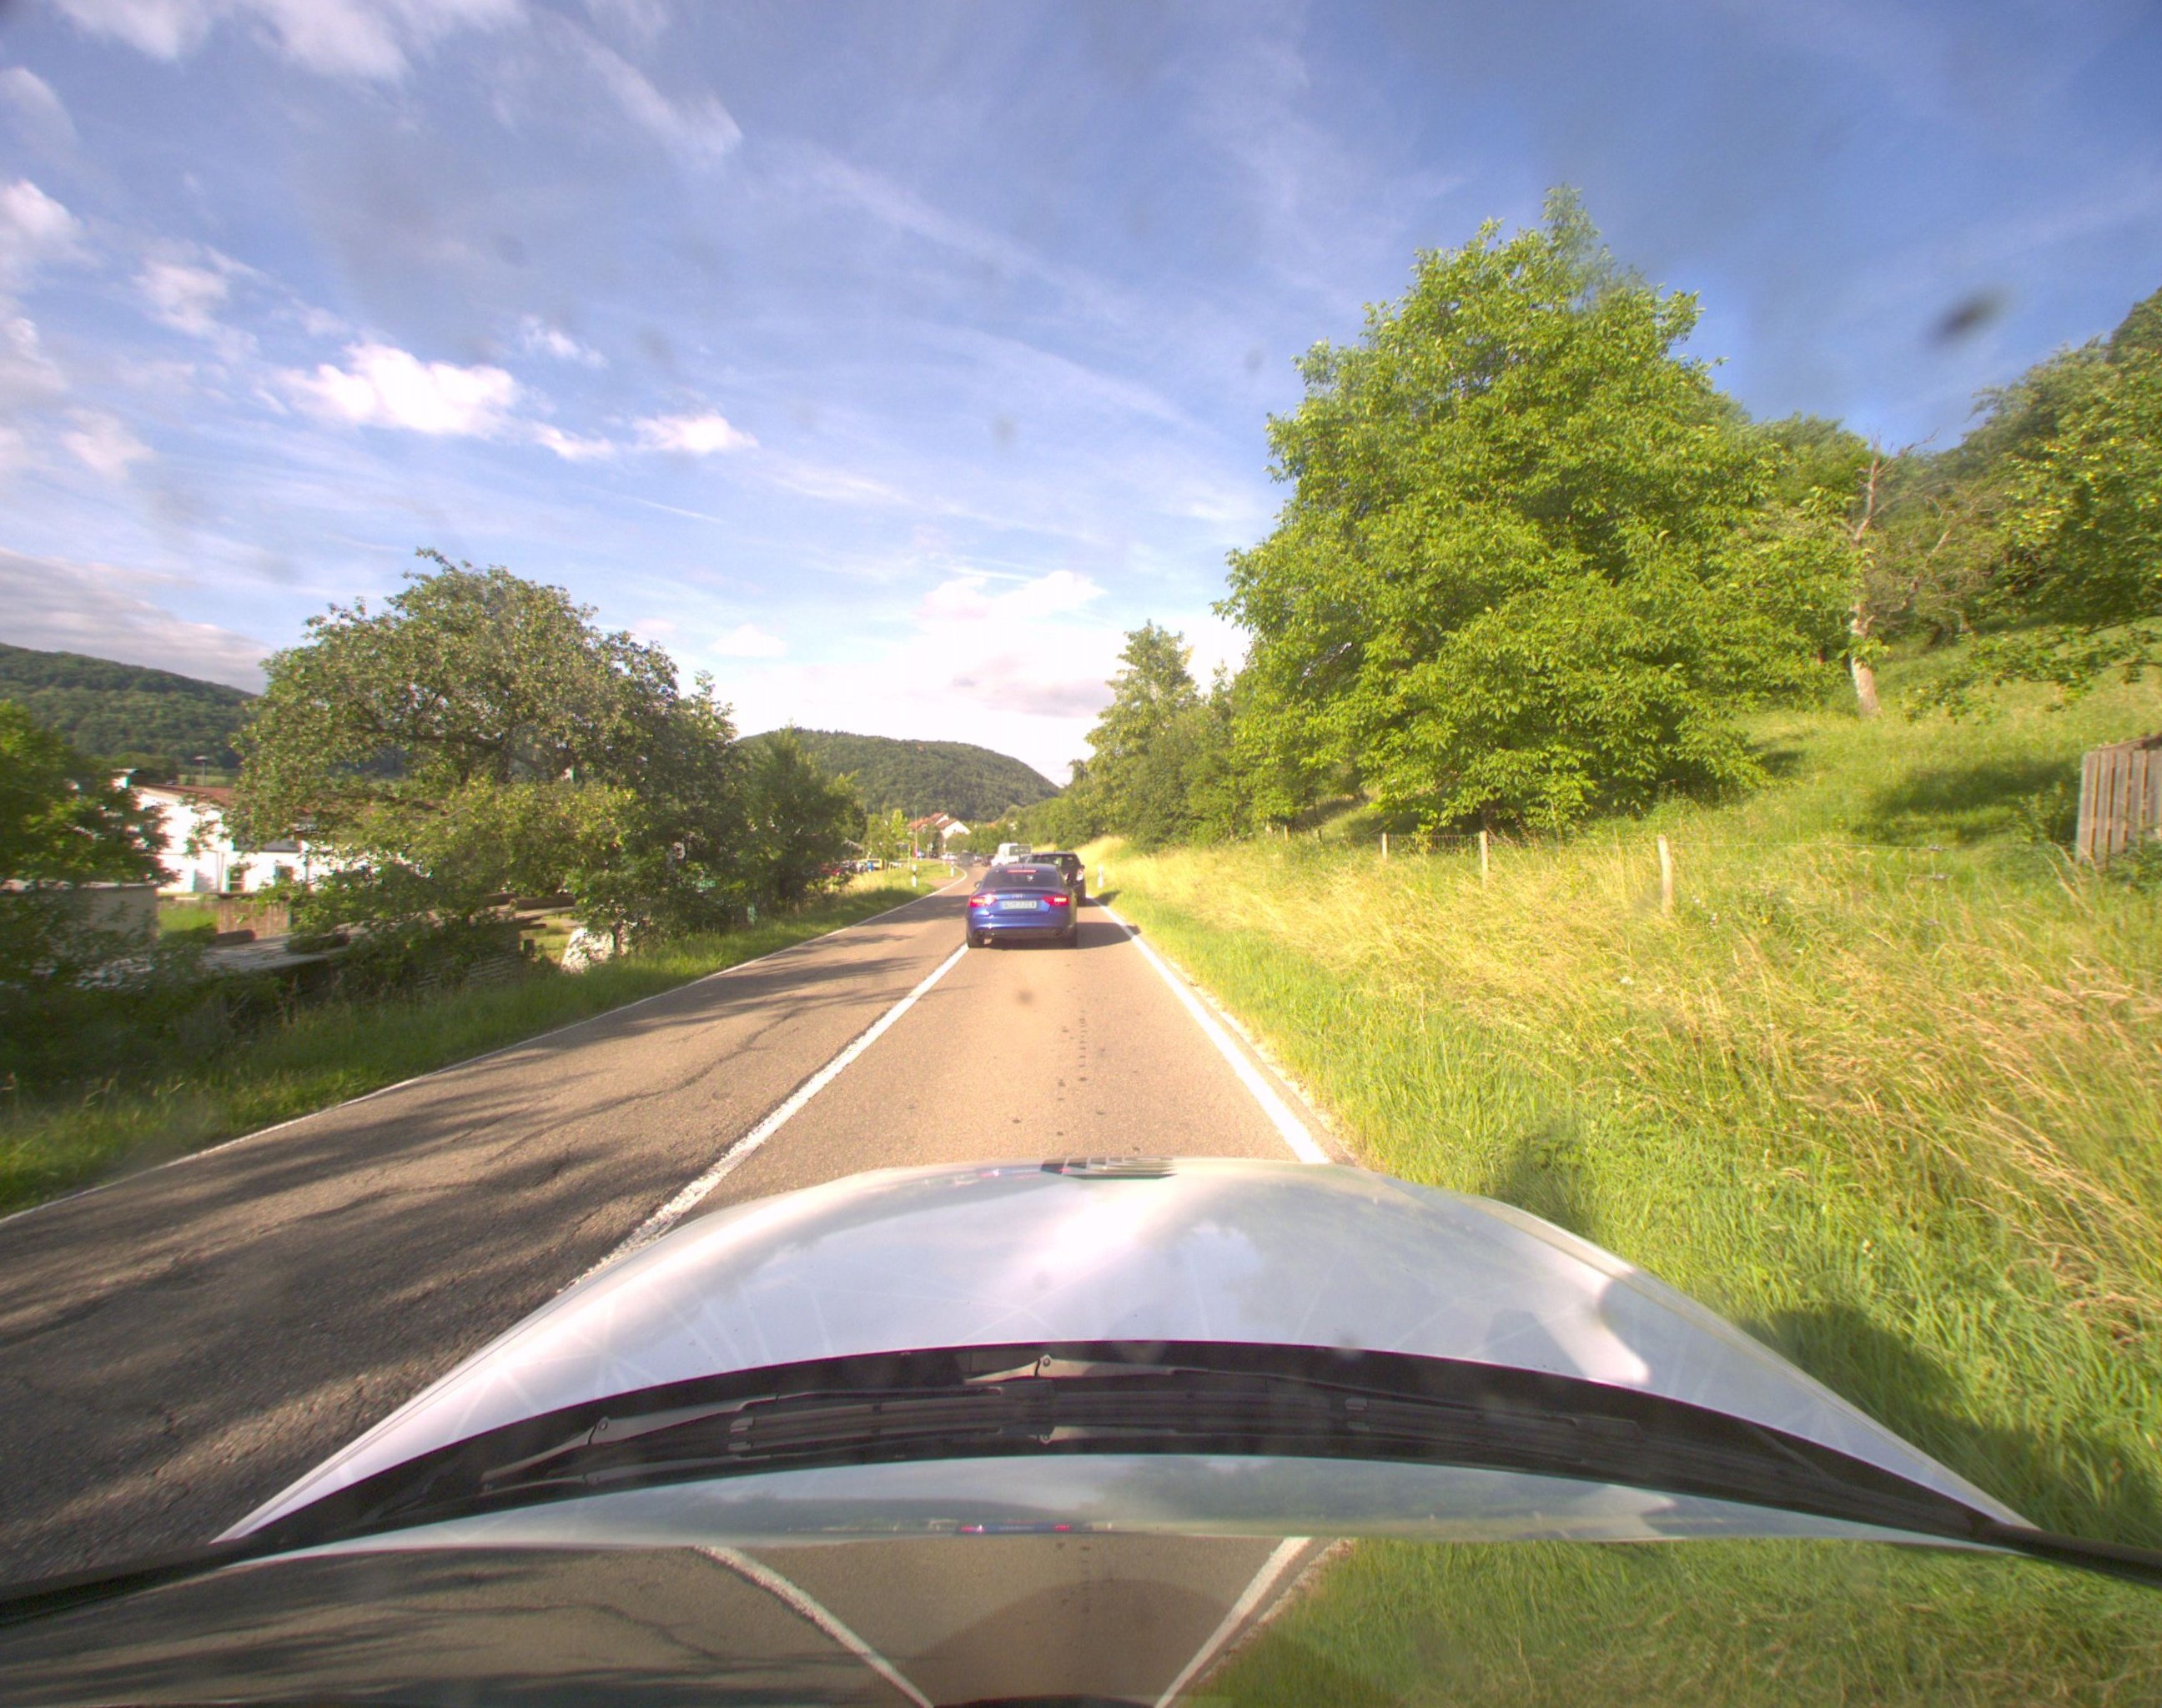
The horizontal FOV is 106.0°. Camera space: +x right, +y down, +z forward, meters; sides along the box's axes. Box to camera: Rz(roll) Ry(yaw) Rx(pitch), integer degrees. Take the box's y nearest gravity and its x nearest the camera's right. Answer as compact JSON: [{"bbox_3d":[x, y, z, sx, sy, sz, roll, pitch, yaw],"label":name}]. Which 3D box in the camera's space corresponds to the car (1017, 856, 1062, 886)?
[{"bbox_3d":[-2.093,0.795,39.872,1.991,1.387,3.992,0,-1,-6],"label":"car"}]

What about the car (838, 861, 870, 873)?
[{"bbox_3d":[-32.500,1.849,116.720,3.975,1.553,1.782,-1,-1,-1],"label":"car"}]

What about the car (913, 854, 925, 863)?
[{"bbox_3d":[-36.230,0.966,181.922,2.000,2.014,3.973,0,-1,-20],"label":"car"}]

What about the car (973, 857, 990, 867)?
[{"bbox_3d":[-14.731,1.224,120.272,1.997,1.482,3.979,0,-1,-15],"label":"car"}]

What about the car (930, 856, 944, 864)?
[{"bbox_3d":[-28.171,1.199,159.560,2.001,1.482,3.971,0,-1,-21],"label":"car"}]

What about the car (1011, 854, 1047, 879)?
[{"bbox_3d":[-3.304,0.748,51.224,1.992,1.482,3.989,0,-1,-7],"label":"car"}]

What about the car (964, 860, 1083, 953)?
[{"bbox_3d":[-0.921,0.816,14.512,1.789,1.360,3.998,-1,0,-1],"label":"car"}]

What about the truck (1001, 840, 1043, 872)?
[{"bbox_3d":[-5.471,0.176,73.729,2.864,2.665,10.358,0,0,-9],"label":"truck"}]

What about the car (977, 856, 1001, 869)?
[{"bbox_3d":[-10.972,1.010,96.946,2.000,1.482,3.974,0,-1,-19],"label":"car"}]

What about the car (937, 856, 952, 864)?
[{"bbox_3d":[-25.434,1.107,151.410,2.001,1.482,3.971,0,-1,-21],"label":"car"}]

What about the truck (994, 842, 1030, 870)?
[{"bbox_3d":[-7.247,0.224,84.190,2.864,2.665,10.609,0,0,-9],"label":"truck"}]

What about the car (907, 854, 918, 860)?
[{"bbox_3d":[-39.413,0.749,190.659,2.001,1.482,3.971,0,-1,-21],"label":"car"}]

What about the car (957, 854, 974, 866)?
[{"bbox_3d":[-14.038,0.759,99.286,1.992,1.376,3.988,0,-1,-8],"label":"car"}]

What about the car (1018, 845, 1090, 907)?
[{"bbox_3d":[-0.771,0.618,24.670,1.988,1.702,3.998,-1,-1,-1],"label":"car"}]

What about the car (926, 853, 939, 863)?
[{"bbox_3d":[-31.300,0.784,171.327,2.000,2.014,3.973,0,-1,-20],"label":"car"}]

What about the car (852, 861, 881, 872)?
[{"bbox_3d":[-32.326,1.899,122.831,3.975,1.553,1.782,-1,-1,-1],"label":"car"}]

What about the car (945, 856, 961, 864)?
[{"bbox_3d":[-22.876,1.042,145.013,2.001,1.482,3.971,0,-1,-21],"label":"car"}]

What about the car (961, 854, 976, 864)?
[{"bbox_3d":[-18.280,0.849,131.898,1.997,1.482,3.979,0,-1,-15],"label":"car"}]

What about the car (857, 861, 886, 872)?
[{"bbox_3d":[-32.175,1.919,125.363,3.975,1.553,1.782,-1,-1,-1],"label":"car"}]

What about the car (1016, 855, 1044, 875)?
[{"bbox_3d":[-3.973,0.820,62.495,1.991,1.482,3.991,0,-1,-6],"label":"car"}]
